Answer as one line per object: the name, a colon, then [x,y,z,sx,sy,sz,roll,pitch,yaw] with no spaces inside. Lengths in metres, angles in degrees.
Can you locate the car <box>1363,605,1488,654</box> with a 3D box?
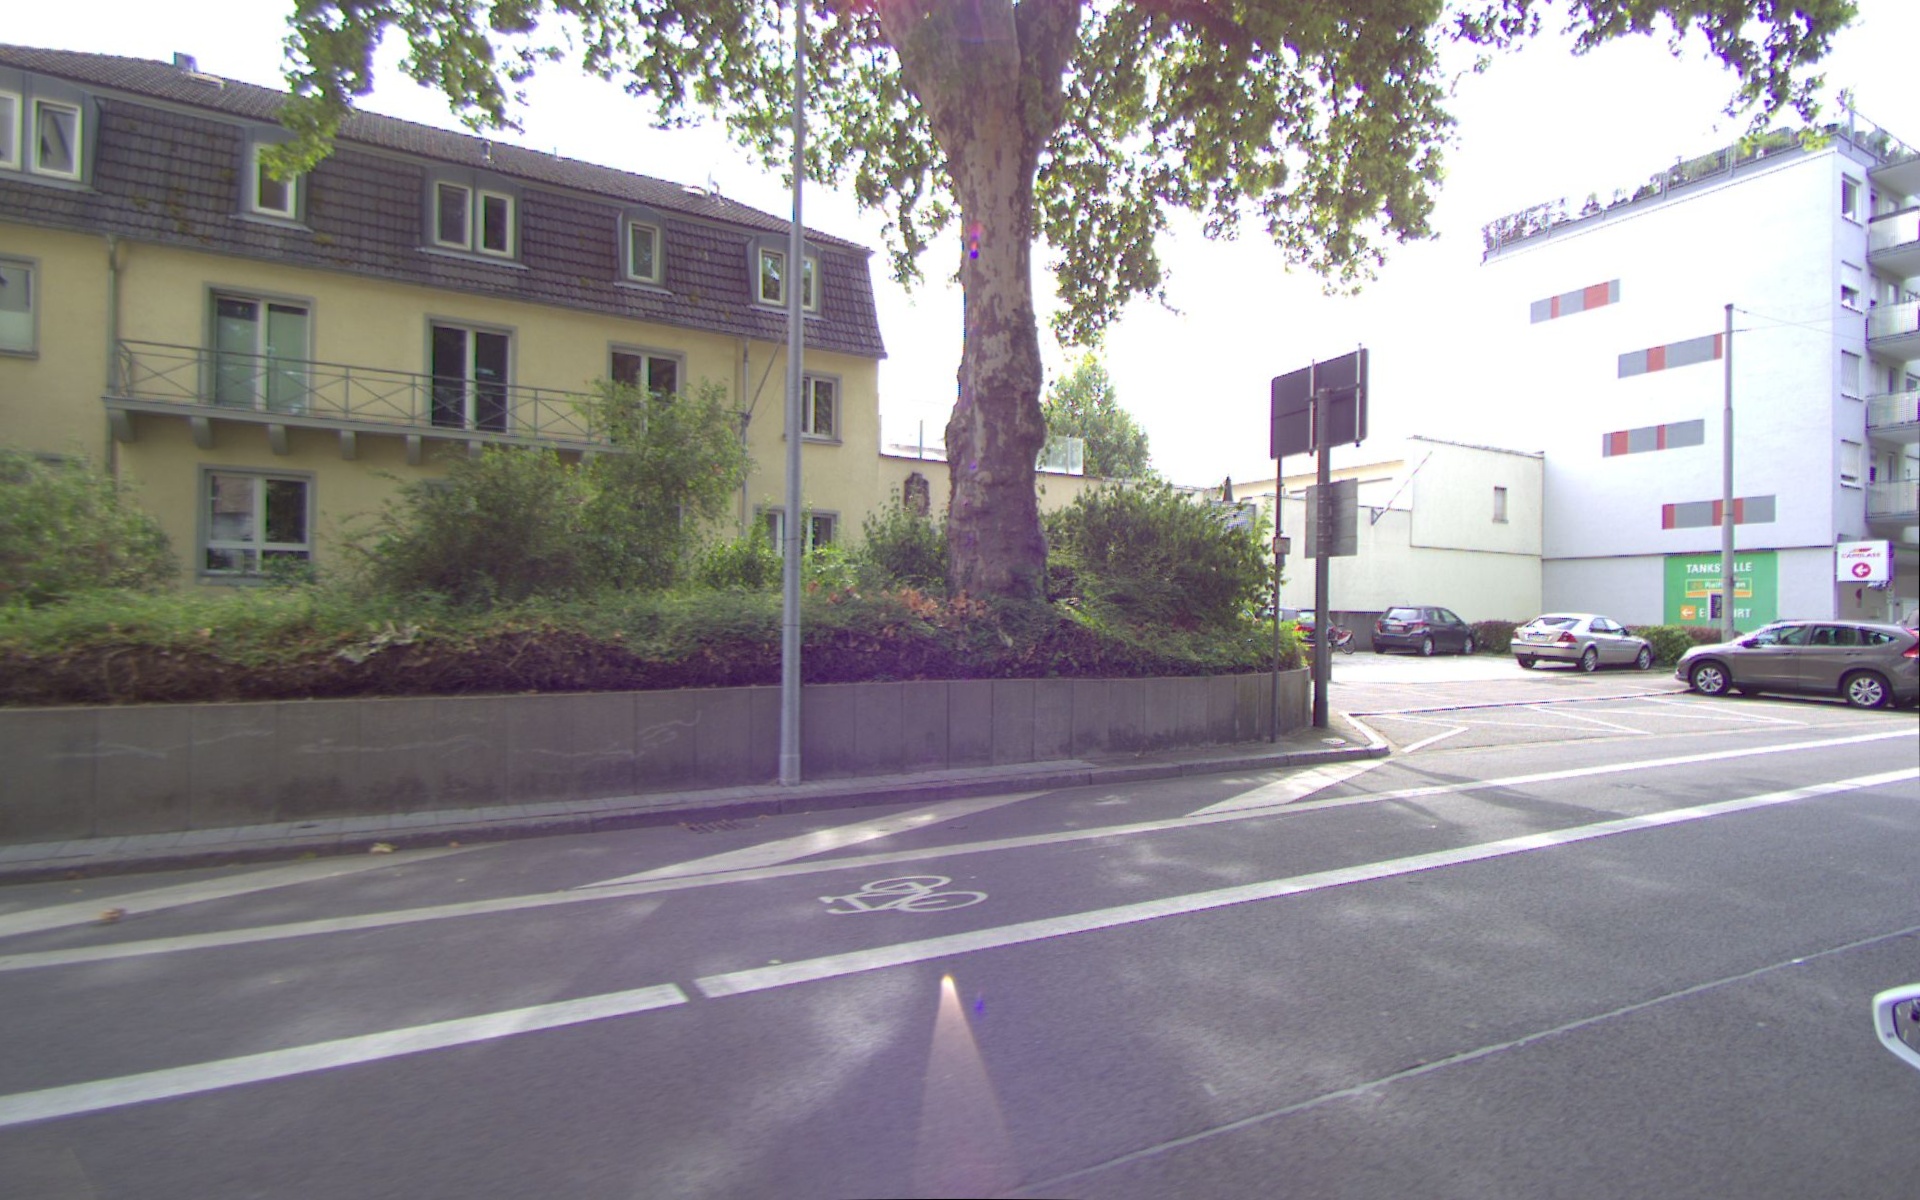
car: [14.458,0.868,31.130,3.960,1.350,1.800,-1,1,-35]

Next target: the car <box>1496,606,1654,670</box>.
car: [16.297,0.977,26.575,4.183,1.539,1.749,1,1,-30]

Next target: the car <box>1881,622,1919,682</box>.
car: [24.921,1.334,24.191,1.732,1.464,3.665,1,1,-29]

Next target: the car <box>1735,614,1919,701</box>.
car: [19.157,1.170,21.297,1.731,1.591,3.926,1,1,-27]

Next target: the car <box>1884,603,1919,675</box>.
car: [27.027,1.098,25.714,2.021,1.904,4.507,1,1,-28]

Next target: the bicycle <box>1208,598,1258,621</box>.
bicycle: [9.247,0.332,34.105,0.483,0.752,1.978,1,-1,-24]

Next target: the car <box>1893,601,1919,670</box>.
car: [28.971,1.102,27.298,1.976,1.929,4.893,1,1,-29]

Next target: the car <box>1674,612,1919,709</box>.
car: [17.207,1.118,20.199,1.943,1.627,4.238,0,1,-28]

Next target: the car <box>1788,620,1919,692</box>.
car: [21.083,1.251,22.399,1.733,1.446,3.664,1,1,-30]

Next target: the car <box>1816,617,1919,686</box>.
car: [22.850,1.228,23.686,1.733,1.505,3.664,1,1,-30]

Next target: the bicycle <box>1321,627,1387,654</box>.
bicycle: [11.749,1.197,30.023,0.484,0.752,1.973,1,-1,-31]

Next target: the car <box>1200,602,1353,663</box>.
car: [8.705,0.833,27.946,1.891,1.485,3.975,0,1,-25]
